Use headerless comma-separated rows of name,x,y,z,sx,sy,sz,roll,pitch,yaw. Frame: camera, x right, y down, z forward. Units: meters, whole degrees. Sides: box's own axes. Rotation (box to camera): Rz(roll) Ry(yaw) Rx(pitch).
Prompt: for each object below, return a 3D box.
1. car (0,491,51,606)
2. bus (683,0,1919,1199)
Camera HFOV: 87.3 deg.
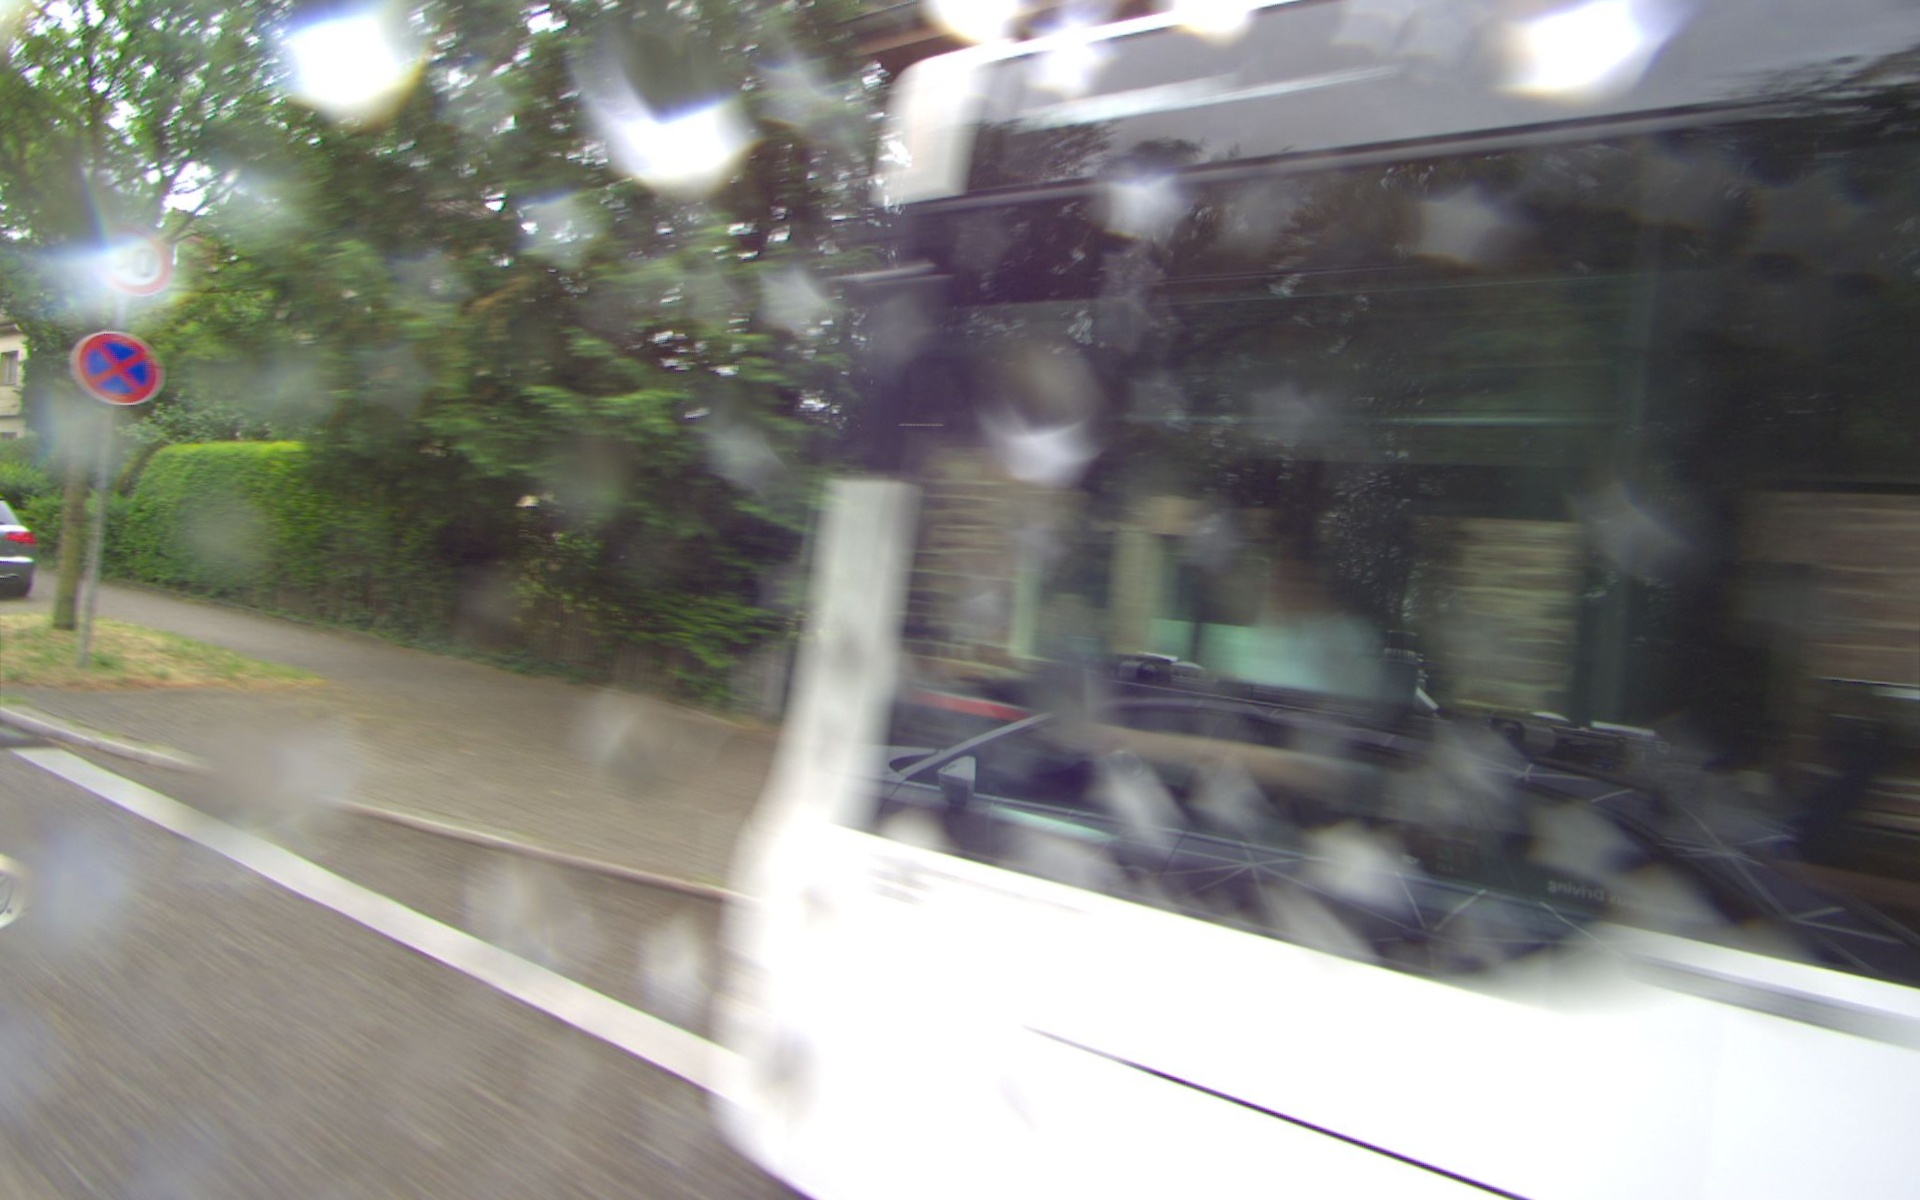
car,-14.210,-0.894,13.545,4.424,1.408,1.689,7,2,31
bus,4.168,0.554,1.043,9.289,2.995,2.561,7,-1,30
